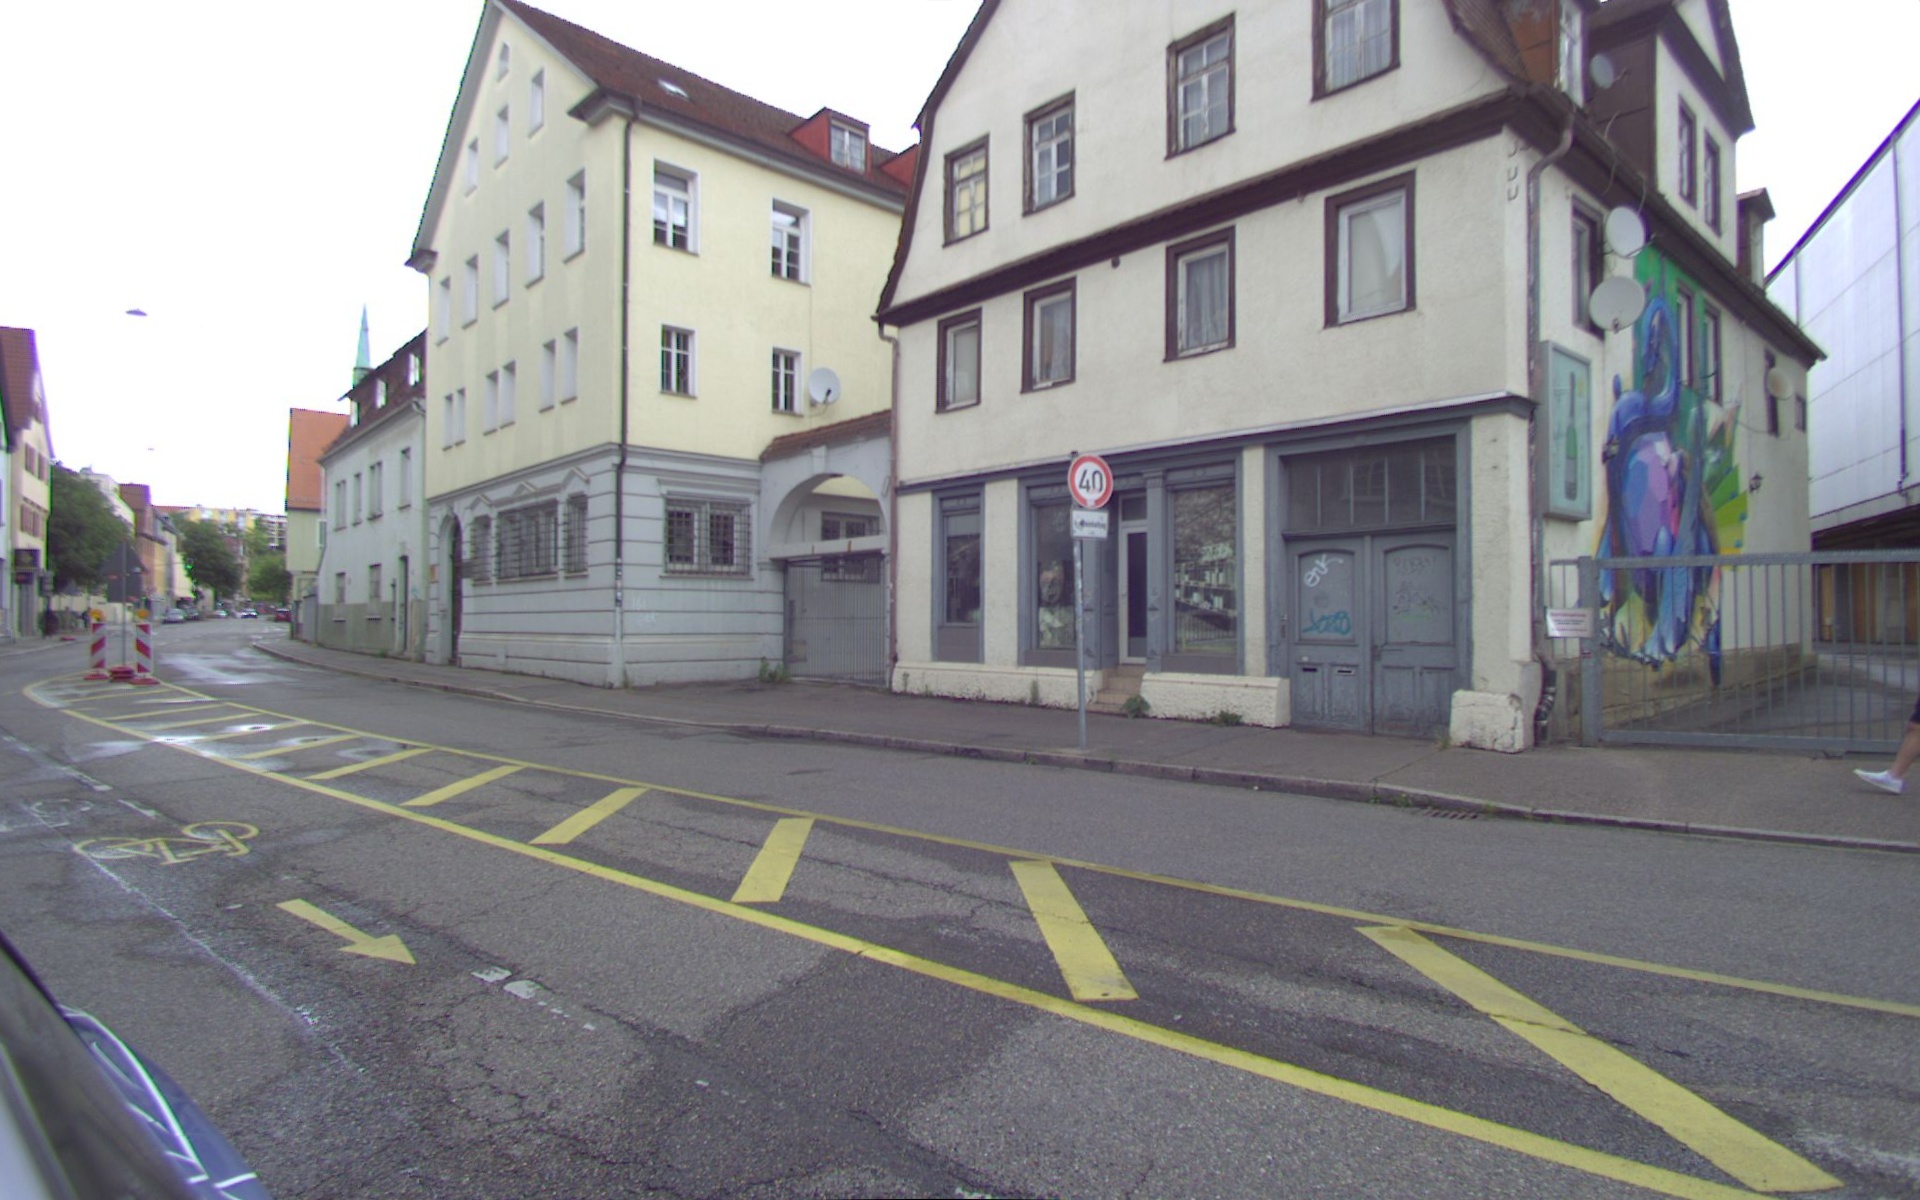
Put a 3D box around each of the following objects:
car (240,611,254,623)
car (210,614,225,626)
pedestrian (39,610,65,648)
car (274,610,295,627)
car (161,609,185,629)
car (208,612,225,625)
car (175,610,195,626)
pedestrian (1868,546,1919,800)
[{"bbox_3d":[-129.729,3.077,184.086,1.967,2.029,4.009,1,-2,-37],"label":"car"},{"bbox_3d":[-123.526,3.346,168.281,1.967,2.029,4.009,1,-2,-37],"label":"car"},{"bbox_3d":[-46.922,1.504,52.312,0.864,1.914,0.899,1,-2,-36],"label":"pedestrian"},{"bbox_3d":[-85.673,2.348,128.348,2.027,2.029,4.009,1,-2,-37],"label":"car"},{"bbox_3d":[-84.800,2.075,109.032,1.967,2.029,4.009,1,-2,-37],"label":"car"},{"bbox_3d":[-114.780,2.882,156.210,1.967,2.029,4.009,1,-2,-37],"label":"car"},{"bbox_3d":[-97.064,2.266,126.734,1.967,2.029,4.009,1,-2,-37],"label":"car"},{"bbox_3d":[7.769,0.529,7.756,1.092,1.900,1.042,-4,-2,44],"label":"pedestrian"}]
